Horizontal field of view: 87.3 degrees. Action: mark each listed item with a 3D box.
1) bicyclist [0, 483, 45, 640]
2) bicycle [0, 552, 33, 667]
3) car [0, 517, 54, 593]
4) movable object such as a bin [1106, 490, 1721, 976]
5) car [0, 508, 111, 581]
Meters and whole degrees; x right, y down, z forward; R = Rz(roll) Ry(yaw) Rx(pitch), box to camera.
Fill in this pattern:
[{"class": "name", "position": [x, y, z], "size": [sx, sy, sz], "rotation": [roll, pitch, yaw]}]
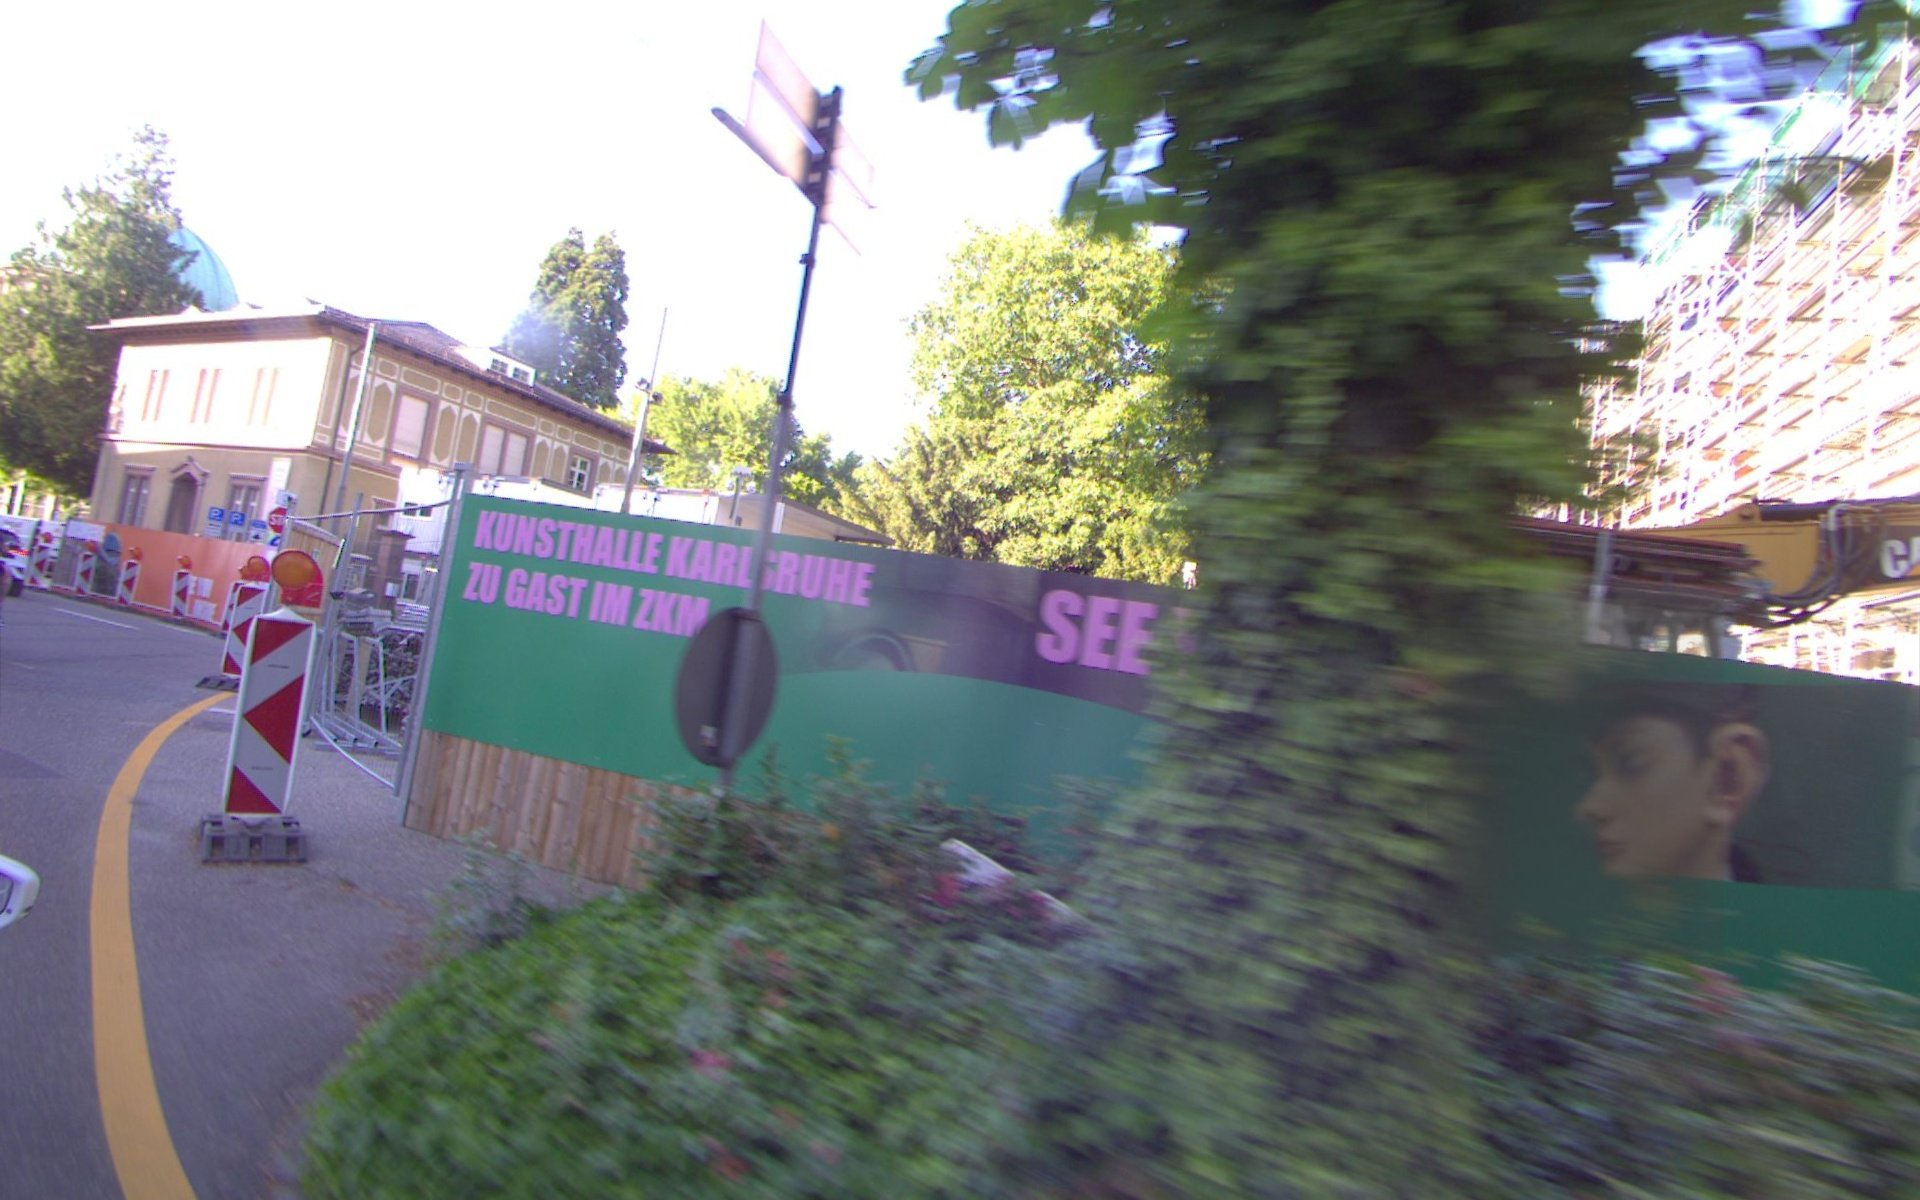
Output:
[{"class": "bicyclist", "position": [-10.270, -0.467, 10.401], "size": [1.215, 1.537, 0.868], "rotation": [5, -7, 44]}, {"class": "bicycle", "position": [-10.378, -0.017, 10.396], "size": [2.422, 1.052, 0.871], "rotation": [5, -7, 44]}, {"class": "car", "position": [-21.720, -1.171, 21.937], "size": [3.938, 1.468, 1.997], "rotation": [6, -4, 36]}, {"class": "movable object such as a bin", "position": [4.195, 1.067, 9.795], "size": [4.309, 3.335, 3.174], "rotation": [7, -4, 27]}, {"class": "car", "position": [-33.462, -2.084, 36.312], "size": [5.384, 1.964, 2.025], "rotation": [7, -6, 26]}]
